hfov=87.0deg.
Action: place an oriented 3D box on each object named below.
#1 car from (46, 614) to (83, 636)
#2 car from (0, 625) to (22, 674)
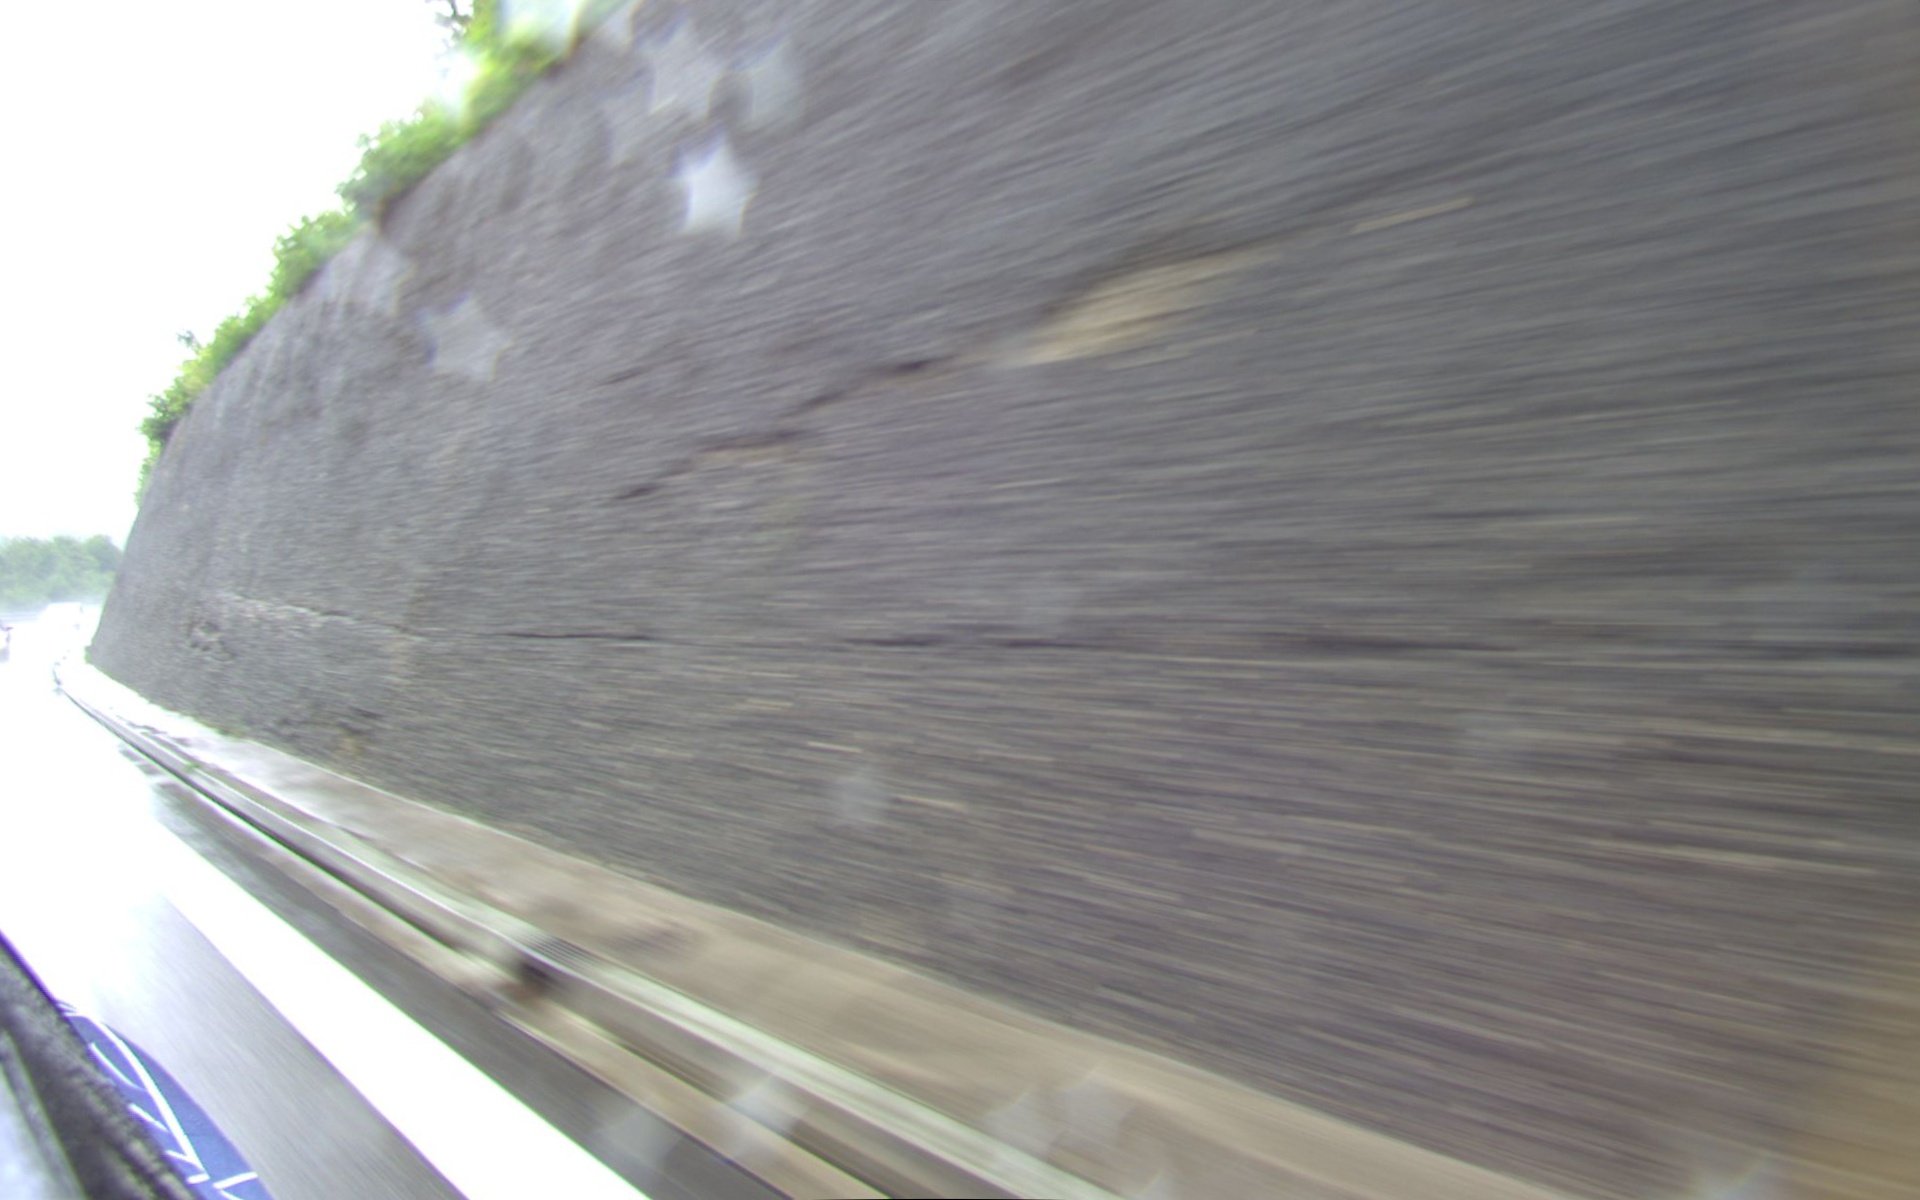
[{"bbox_3d":[-65.231,1.793,73.744,1.800,1.393,4.007,-4,2,-39],"label":"car"},{"bbox_3d":[-30.404,1.562,31.365,1.801,1.393,4.005,-4,2,-41],"label":"car"}]
